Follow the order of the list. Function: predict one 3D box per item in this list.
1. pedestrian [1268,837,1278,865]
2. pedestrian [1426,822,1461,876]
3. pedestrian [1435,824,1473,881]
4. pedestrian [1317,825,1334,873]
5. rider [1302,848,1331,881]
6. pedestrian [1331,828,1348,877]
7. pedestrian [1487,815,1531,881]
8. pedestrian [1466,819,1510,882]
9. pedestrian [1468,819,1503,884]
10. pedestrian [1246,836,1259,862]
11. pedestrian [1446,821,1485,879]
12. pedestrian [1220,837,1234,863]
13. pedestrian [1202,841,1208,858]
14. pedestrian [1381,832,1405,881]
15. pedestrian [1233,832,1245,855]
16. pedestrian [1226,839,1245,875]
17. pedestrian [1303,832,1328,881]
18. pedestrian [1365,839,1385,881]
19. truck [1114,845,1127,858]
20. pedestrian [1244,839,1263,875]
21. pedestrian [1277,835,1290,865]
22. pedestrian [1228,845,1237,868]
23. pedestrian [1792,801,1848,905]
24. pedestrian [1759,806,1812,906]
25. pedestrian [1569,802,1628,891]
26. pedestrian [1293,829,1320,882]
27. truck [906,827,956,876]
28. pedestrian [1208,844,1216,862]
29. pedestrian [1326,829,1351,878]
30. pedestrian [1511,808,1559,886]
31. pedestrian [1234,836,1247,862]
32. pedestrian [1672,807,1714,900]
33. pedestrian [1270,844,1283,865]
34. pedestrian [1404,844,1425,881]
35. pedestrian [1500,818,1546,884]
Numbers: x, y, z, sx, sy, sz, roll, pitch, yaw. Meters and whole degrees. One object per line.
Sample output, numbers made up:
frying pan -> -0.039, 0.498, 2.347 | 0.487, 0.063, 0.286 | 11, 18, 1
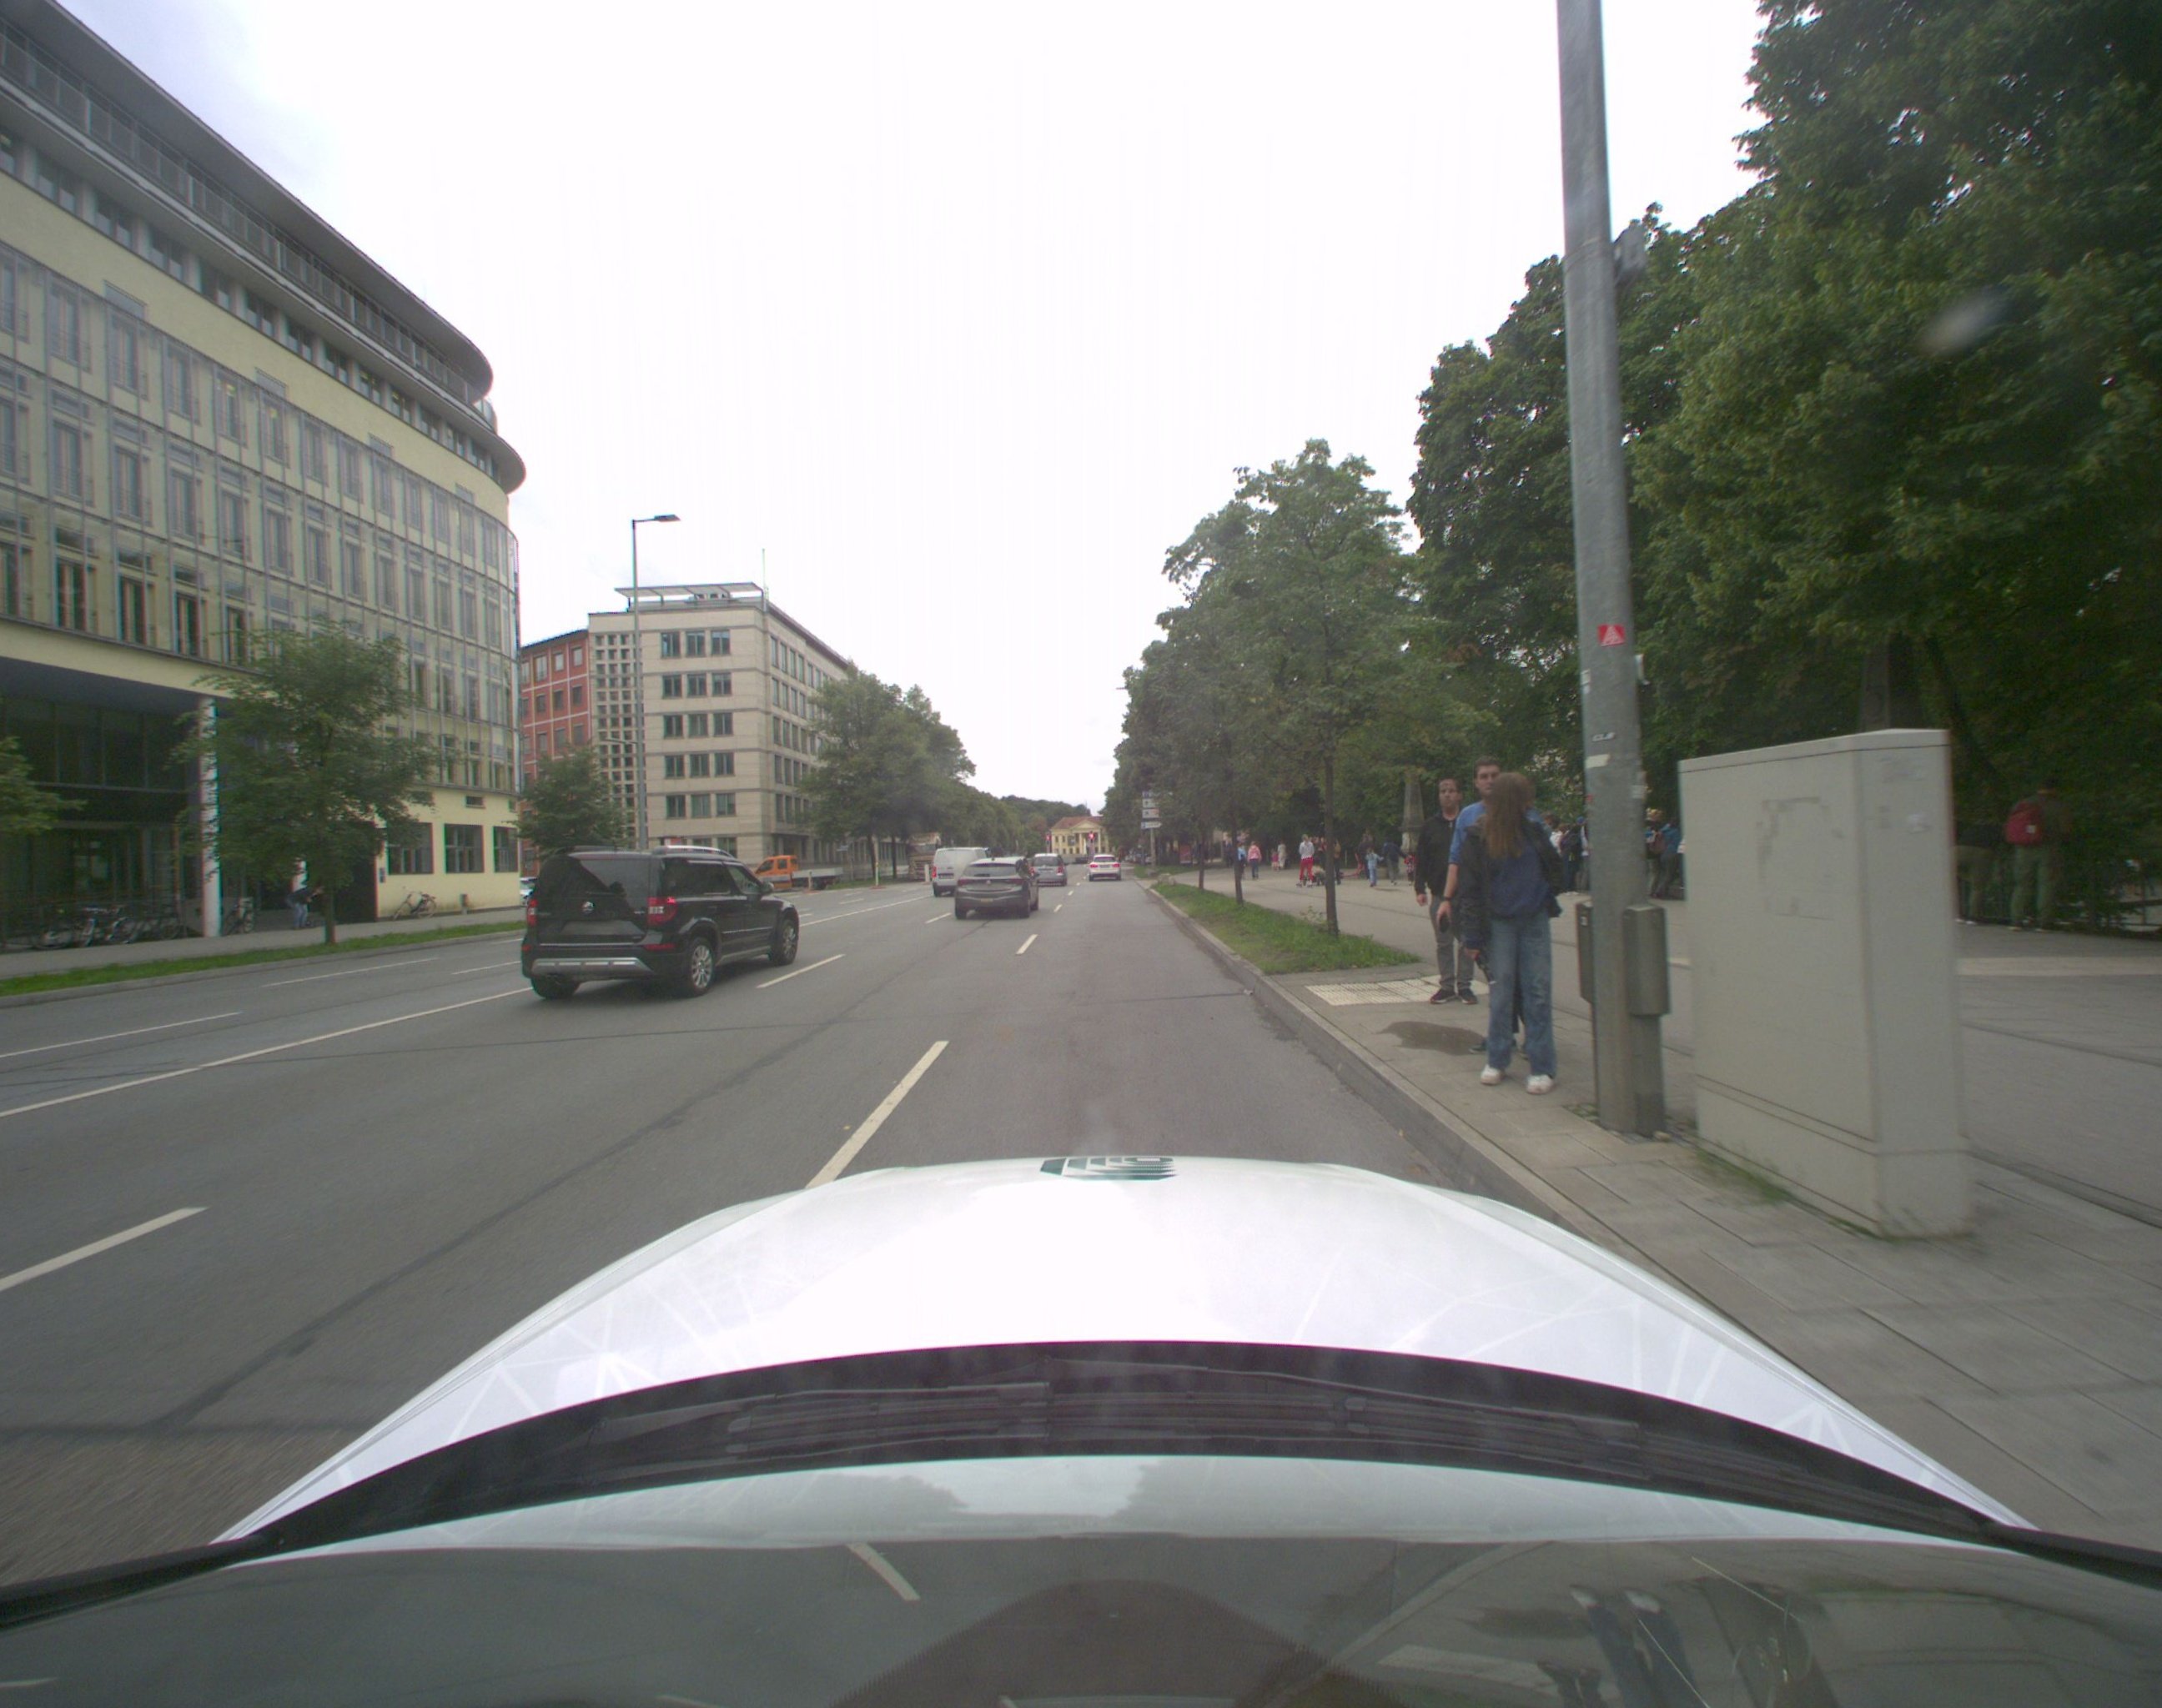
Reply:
pedestrian -> 10.867, -0.175, 46.088 | 0.481, 1.566, 0.575 | -1, 0, 17
pedestrian -> 11.678, -0.159, 26.282 | 0.808, 1.690, 0.729 | -1, 0, 4
pedestrian -> 11.580, -0.056, 25.299 | 0.808, 1.690, 0.729 | -3, 0, 4
pedestrian -> 9.880, -0.207, 32.837 | 0.604, 1.914, 0.696 | -1, 0, 18
rider -> 8.033, 0.351, 27.827 | 0.761, 1.112, 1.246 | -1, 0, 6
pedestrian -> 10.019, -0.061, 31.562 | 0.604, 1.872, 0.696 | -1, 0, 18
pedestrian -> 11.515, -0.161, 21.948 | 0.808, 1.739, 0.729 | -1, 0, 4
pedestrian -> 11.369, -0.107, 22.753 | 0.808, 1.690, 0.729 | -3, 0, 4
pedestrian -> 10.757, -0.064, 21.667 | 0.589, 1.690, 0.729 | -1, 0, 4
pedestrian -> 11.317, -0.335, 53.595 | 0.749, 1.643, 0.694 | -1, 0, 17
pedestrian -> 11.568, -0.120, 24.507 | 0.808, 1.690, 0.729 | -2, 0, 4
pedestrian -> 9.653, -0.269, 53.733 | 0.748, 1.737, 0.853 | -1, 0, 17
pedestrian -> 12.319, -0.441, 81.040 | 0.577, 1.675, 0.554 | -1, 0, 5
pedestrian -> 9.971, 0.073, 26.020 | 0.546, 1.527, 0.649 | -1, 0, 6
pedestrian -> 12.503, -0.822, 64.452 | 0.748, 1.737, 0.853 | -1, 0, 17
pedestrian -> 7.114, 0.143, 37.409 | 0.748, 1.643, 0.853 | -1, 0, 17
pedestrian -> 8.290, 0.080, 28.761 | 0.722, 1.690, 0.649 | -1, 0, 6
pedestrian -> 9.430, 0.192, 26.145 | 0.455, 1.326, 0.649 | -1, 0, 6
truck -> 10.915, -0.608, 224.061 | 3.313, 3.367, 8.666 | -1, 0, 2
pedestrian -> 7.885, 0.131, 37.257 | 0.748, 1.643, 0.853 | -1, 0, 17
pedestrian -> 11.366, -0.236, 45.744 | 0.626, 1.667, 0.575 | -1, 0, 17
pedestrian -> 11.348, 0.184, 61.062 | 0.604, 1.763, 0.798 | -1, 0, 5
pedestrian -> 11.008, -0.012, 12.134 | 0.418, 1.507, 0.443 | -1, 0, 4
pedestrian -> 10.889, 0.025, 12.589 | 0.418, 1.507, 0.443 | -1, 0, 4
pedestrian -> 11.114, -0.157, 17.503 | 0.808, 1.851, 0.729 | -1, 0, 4
pedestrian -> 7.279, 0.045, 26.331 | 0.722, 1.690, 0.649 | -1, 0, 6
truck -> -12.452, -0.210, 68.257 | 2.909, 3.774, 7.659 | -1, 0, -2
pedestrian -> 12.592, -0.083, 78.363 | 0.627, 1.774, 0.783 | -1, 0, 5
pedestrian -> 9.055, -0.022, 28.667 | 0.722, 1.690, 0.649 | -1, 0, 6
pedestrian -> 11.401, -0.172, 20.470 | 0.808, 1.916, 0.729 | -1, 0, 4
pedestrian -> 10.433, -0.316, 53.344 | 0.749, 1.643, 0.653 | -1, 0, 17
pedestrian -> 11.435, -0.014, 15.222 | 0.419, 1.703, 0.443 | -1, 0, 2
pedestrian -> 10.574, 0.017, 44.004 | 0.626, 1.137, 0.575 | -1, 0, 17
pedestrian -> 10.515, 0.262, 25.685 | 0.455, 1.153, 0.649 | -1, 0, 6
pedestrian -> 11.503, -0.074, 21.197 | 0.808, 1.690, 0.729 | -1, 0, 4
